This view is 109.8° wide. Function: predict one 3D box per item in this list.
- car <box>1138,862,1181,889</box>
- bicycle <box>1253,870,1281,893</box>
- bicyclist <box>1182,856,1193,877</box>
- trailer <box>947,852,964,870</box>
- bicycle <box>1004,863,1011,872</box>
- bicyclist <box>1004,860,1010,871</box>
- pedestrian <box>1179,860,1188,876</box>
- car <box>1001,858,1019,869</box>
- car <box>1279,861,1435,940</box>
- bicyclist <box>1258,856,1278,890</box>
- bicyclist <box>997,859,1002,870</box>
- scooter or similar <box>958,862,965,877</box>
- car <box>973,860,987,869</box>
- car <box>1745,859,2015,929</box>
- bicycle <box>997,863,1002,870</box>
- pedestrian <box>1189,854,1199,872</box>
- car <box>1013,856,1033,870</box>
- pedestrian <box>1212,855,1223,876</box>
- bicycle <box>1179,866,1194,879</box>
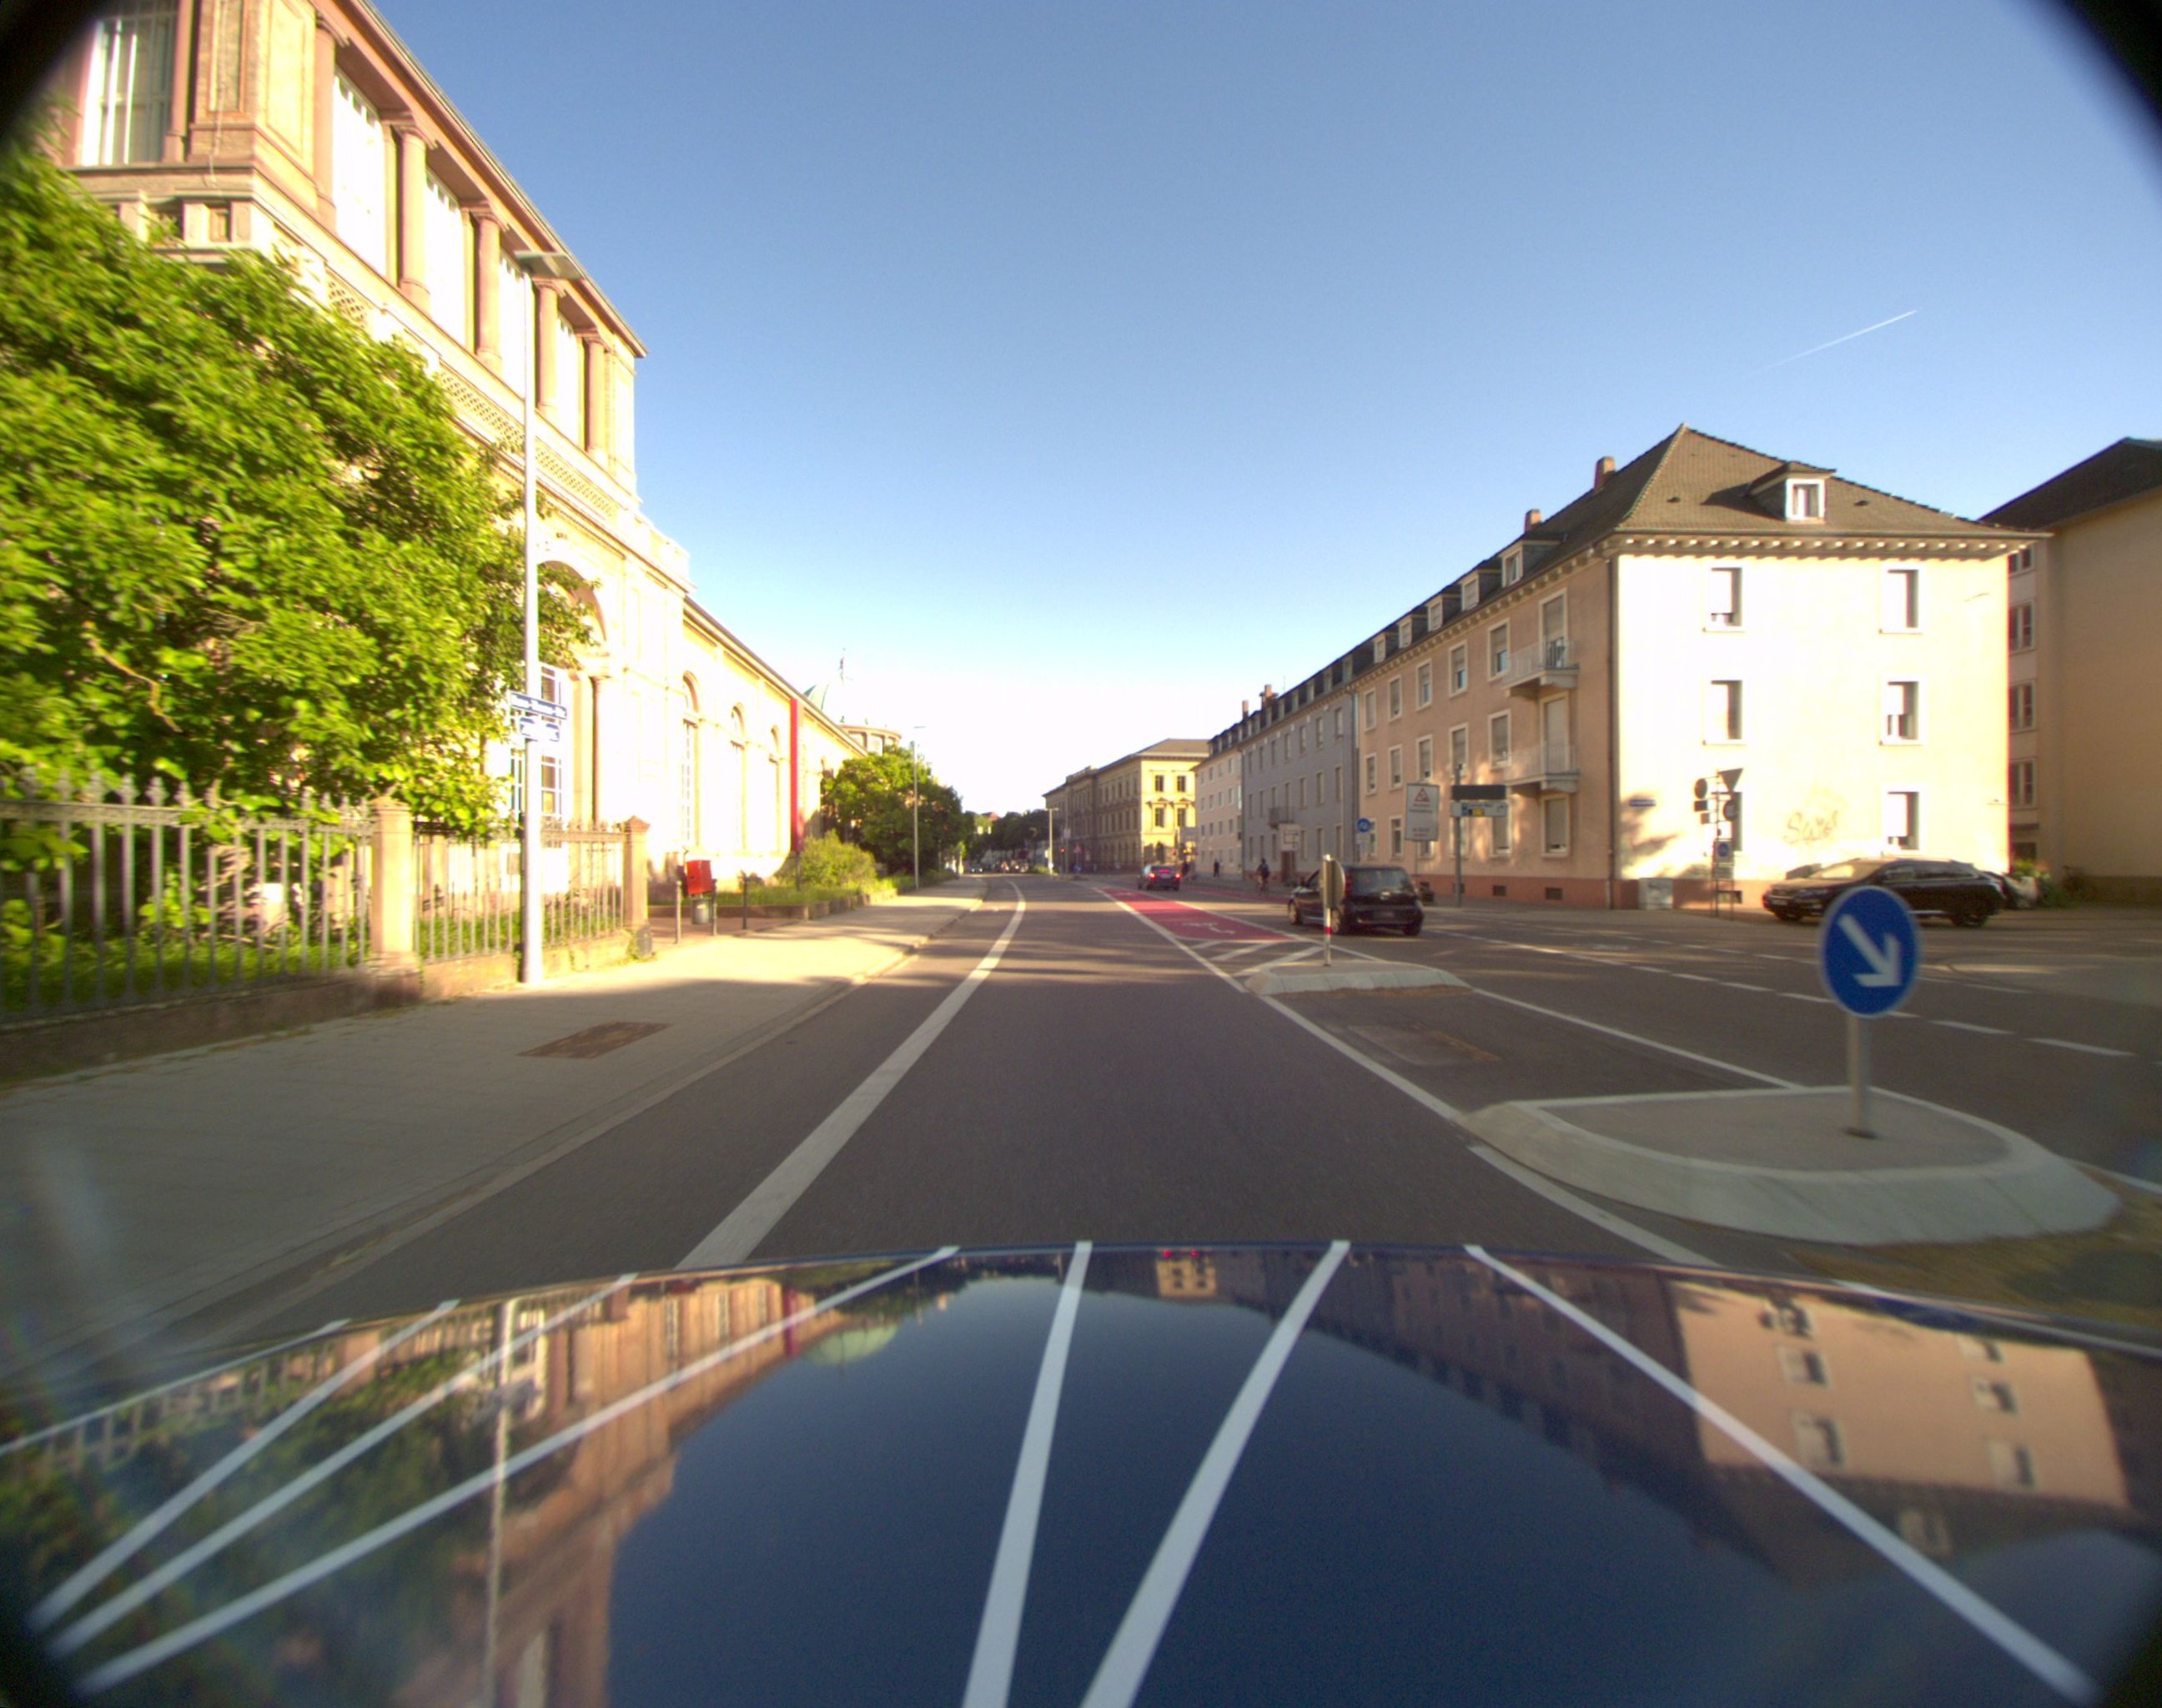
[{"bbox_3d":[4.312,1.136,42.260,1.816,1.411,4.554,0,0,-2],"label":"car"},{"bbox_3d":[8.356,1.221,34.205,0.653,0.990,2.109,1,0,-3],"label":"bicycle"},{"bbox_3d":[8.678,1.039,61.873,0.637,1.700,0.738,3,0,-6],"label":"bicyclist"},{"bbox_3d":[-17.790,1.001,107.892,2.087,2.513,4.487,2,-1,-12],"label":"trailer"},{"bbox_3d":[-10.516,1.926,108.224,0.831,1.136,1.968,-1,0,-11],"label":"bicycle"},{"bbox_3d":[-10.554,1.600,108.386,0.805,1.598,0.824,0,0,-11],"label":"bicyclist"},{"bbox_3d":[10.009,1.377,73.959,0.633,1.574,0.818,-3,0,-6],"label":"pedestrian"},{"bbox_3d":[-11.165,1.469,119.779,1.999,1.739,4.741,0,0,-16],"label":"car"},{"bbox_3d":[5.666,0.888,16.164,1.763,1.450,3.999,0,0,-2],"label":"car"},{"bbox_3d":[8.375,0.853,34.030,0.658,1.476,0.665,3,0,-3],"label":"bicyclist"},{"bbox_3d":[-12.661,1.612,117.848,0.675,1.642,0.886,-1,0,-13],"label":"bicyclist"},{"bbox_3d":[-10.764,1.408,68.624,0.557,1.301,1.831,0,0,-6],"label":"scooter or similar"},{"bbox_3d":[-15.900,1.619,119.199,1.556,1.288,3.632,3,-1,-17],"label":"car"},{"bbox_3d":[20.177,0.968,19.390,4.585,1.668,2.061,0,0,3],"label":"car"},{"bbox_3d":[-12.643,1.916,117.770,0.671,1.066,1.751,-1,0,-12],"label":"bicycle"},{"bbox_3d":[12.164,0.947,81.641,0.870,1.852,1.015,-3,0,0],"label":"pedestrian"},{"bbox_3d":[-8.444,1.269,110.220,2.076,1.904,5.027,0,0,-14],"label":"car"},{"bbox_3d":[12.528,1.057,69.736,0.633,1.835,1.012,-3,0,-6],"label":"pedestrian"},{"bbox_3d":[8.611,1.512,61.827,0.648,0.990,2.108,1,0,-8],"label":"bicycle"}]
